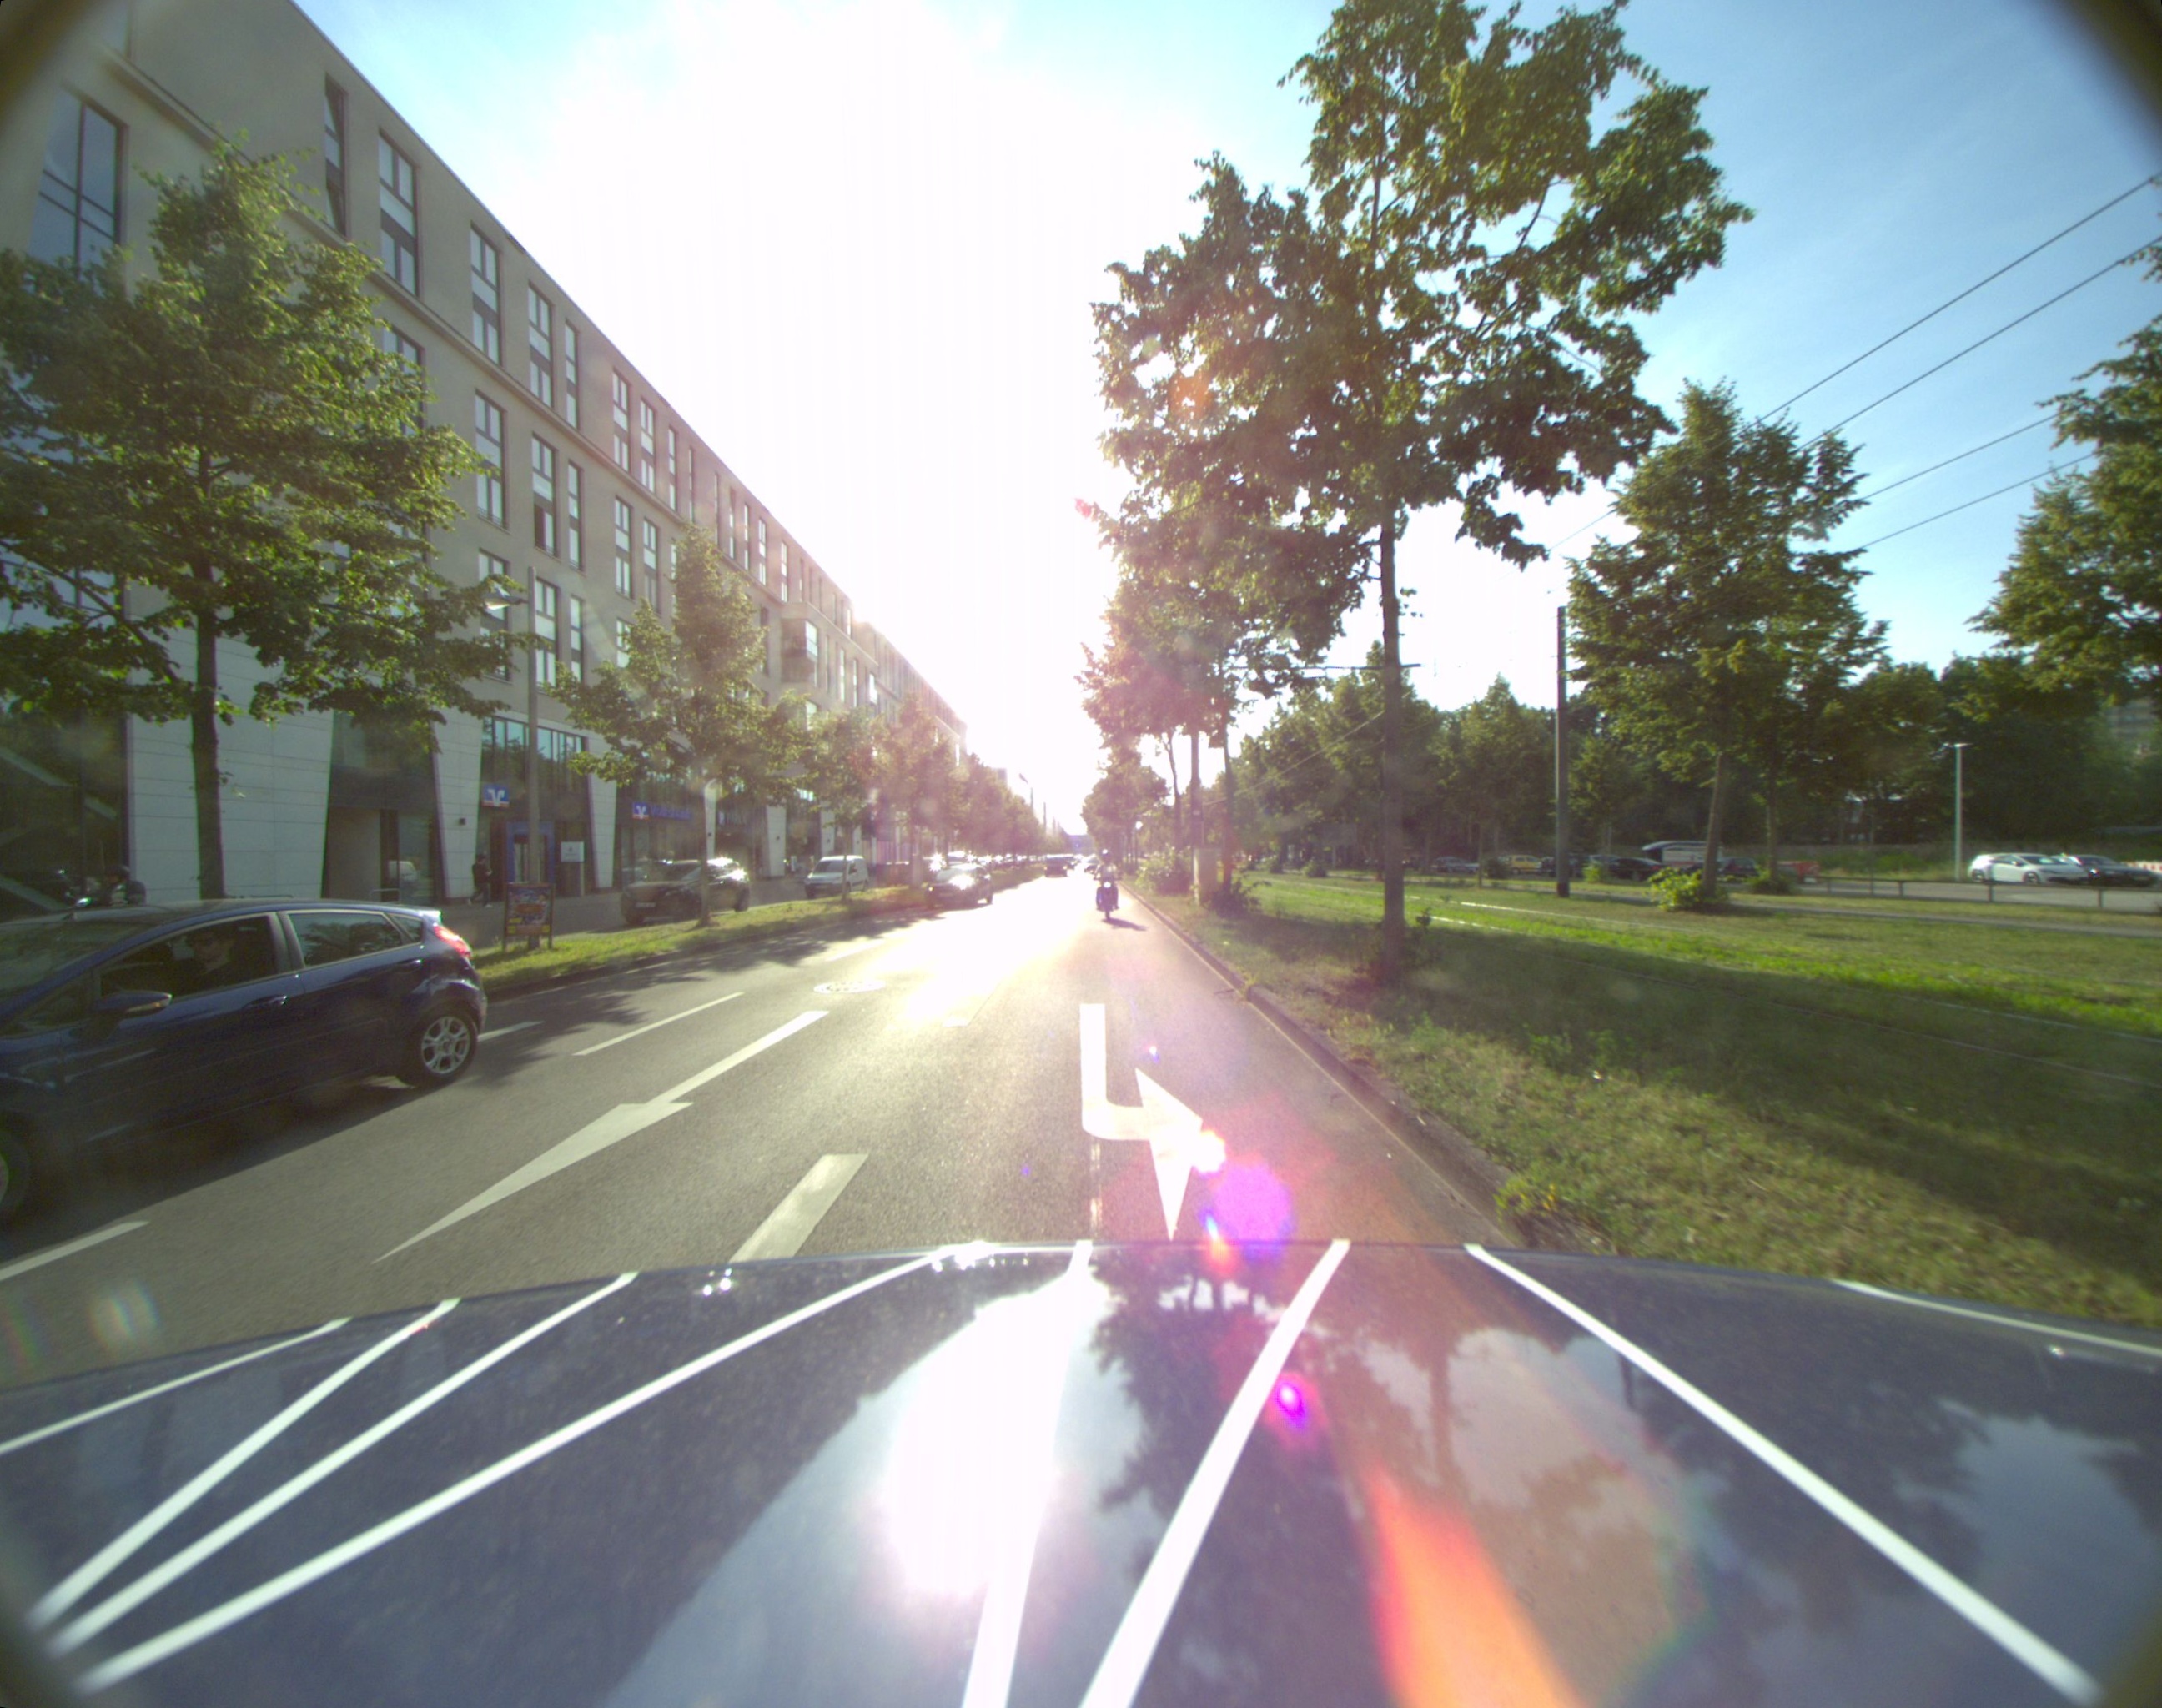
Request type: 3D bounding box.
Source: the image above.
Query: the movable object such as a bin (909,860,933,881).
[{"bbox_3d":[-10.131,1.039,48.155,1.281,1.294,1.191,-2,1,-2],"label":"movable object such as a bin"}]

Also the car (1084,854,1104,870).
[{"bbox_3d":[1.251,0.766,75.593,1.756,1.427,4.034,-2,1,-2],"label":"car"}]

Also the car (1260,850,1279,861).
[{"bbox_3d":[28.423,0.204,114.400,1.835,1.423,4.474,-2,1,2],"label":"car"}]

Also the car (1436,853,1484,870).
[{"bbox_3d":[37.481,0.771,75.187,3.865,1.477,1.744,-2,1,9],"label":"car"}]

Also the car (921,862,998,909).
[{"bbox_3d":[-4.332,1.103,27.730,1.698,1.416,4.041,-2,1,6],"label":"car"}]

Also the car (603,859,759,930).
[{"bbox_3d":[-11.078,1.034,21.493,1.902,1.698,4.677,-2,0,-1],"label":"car"}]

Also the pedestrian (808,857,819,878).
[{"bbox_3d":[-20.041,1.005,56.965,0.515,1.513,0.597,-2,1,1],"label":"pedestrian"}]

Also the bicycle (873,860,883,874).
[{"bbox_3d":[-17.406,1.102,65.245,0.345,1.075,1.732,3,1,1],"label":"bicycle"}]

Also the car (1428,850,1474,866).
[{"bbox_3d":[37.795,0.426,77.634,3.865,1.477,1.744,-2,1,9],"label":"car"}]

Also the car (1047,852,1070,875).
[{"bbox_3d":[-1.931,0.804,67.256,1.803,1.881,4.820,-2,1,1],"label":"car"}]

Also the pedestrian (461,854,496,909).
[{"bbox_3d":[-19.800,0.902,24.987,0.538,1.753,0.646,-2,1,1],"label":"pedestrian"}]

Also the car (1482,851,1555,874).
[{"bbox_3d":[37.654,0.697,65.505,5.071,1.725,1.886,-2,1,3],"label":"car"}]

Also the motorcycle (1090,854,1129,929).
[{"bbox_3d":[0.665,0.862,18.677,0.798,1.659,2.634,-2,1,0],"label":"motorcycle"}]

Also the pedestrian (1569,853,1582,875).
[{"bbox_3d":[34.399,0.704,52.855,0.523,1.472,0.568,-2,1,0],"label":"pedestrian"}]

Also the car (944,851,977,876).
[{"bbox_3d":[-10.258,0.763,64.796,1.842,1.865,5.031,-2,1,1],"label":"car"}]

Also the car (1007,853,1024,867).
[{"bbox_3d":[-9.558,0.804,111.369,1.899,1.863,4.844,-2,1,0],"label":"car"}]

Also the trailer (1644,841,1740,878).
[{"bbox_3d":[37.434,0.334,46.630,4.374,2.042,1.758,-2,1,4],"label":"trailer"}]

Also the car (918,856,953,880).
[{"bbox_3d":[-10.547,1.002,55.262,1.735,1.620,4.849,0,0,-2],"label":"car"}]

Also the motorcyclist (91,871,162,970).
[{"bbox_3d":[-16.038,1.107,12.773,0.625,1.631,0.417,1,1,-8],"label":"motorcyclist"}]

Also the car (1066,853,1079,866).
[{"bbox_3d":[-1.325,0.840,120.946,1.998,2.002,3.999,-2,1,1],"label":"car"}]

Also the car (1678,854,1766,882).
[{"bbox_3d":[36.048,0.759,42.848,1.684,1.385,3.760,-3,1,-2],"label":"car"}]

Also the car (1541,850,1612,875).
[{"bbox_3d":[36.301,0.593,55.673,4.002,1.633,1.757,-2,1,1],"label":"car"}]

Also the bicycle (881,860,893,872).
[{"bbox_3d":[-17.441,1.103,68.366,0.419,0.995,2.043,3,1,1],"label":"bicycle"}]

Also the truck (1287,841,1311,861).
[{"bbox_3d":[41.966,-0.603,146.380,2.895,3.496,7.946,-2,1,6],"label":"truck"}]

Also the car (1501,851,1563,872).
[{"bbox_3d":[37.198,0.598,62.751,3.996,1.551,1.856,-2,1,3],"label":"car"}]

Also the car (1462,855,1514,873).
[{"bbox_3d":[36.485,0.882,68.220,3.655,1.420,1.810,-2,1,3],"label":"car"}]

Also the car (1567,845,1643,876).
[{"bbox_3d":[36.252,0.446,52.656,4.002,1.936,1.757,-2,1,1],"label":"car"}]

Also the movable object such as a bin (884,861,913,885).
[{"bbox_3d":[-10.305,1.070,42.944,1.281,1.284,1.178,-2,1,-2],"label":"movable object such as a bin"}]

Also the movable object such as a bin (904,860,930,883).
[{"bbox_3d":[-10.099,1.057,46.868,1.281,1.310,1.191,-2,1,-2],"label":"movable object such as a bin"}]

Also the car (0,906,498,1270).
[{"bbox_3d":[-5.537,1.155,4.153,1.564,1.416,3.908,-2,0,1],"label":"car"}]

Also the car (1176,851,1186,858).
[{"bbox_3d":[23.346,0.059,177.696,1.686,1.467,4.812,2,1,1],"label":"car"}]

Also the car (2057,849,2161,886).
[{"bbox_3d":[49.749,0.603,36.313,1.687,1.548,4.003,-2,1,13],"label":"car"}]

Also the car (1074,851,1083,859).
[{"bbox_3d":[-0.544,0.118,160.177,1.840,1.521,4.328,-2,1,1],"label":"car"}]

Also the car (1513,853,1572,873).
[{"bbox_3d":[35.870,0.701,59.112,3.576,1.417,1.726,-2,1,1],"label":"car"}]

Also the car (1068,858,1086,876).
[{"bbox_3d":[-0.474,1.510,92.396,1.909,2.002,4.000,-2,1,1],"label":"car"}]

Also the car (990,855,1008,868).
[{"bbox_3d":[-10.109,0.879,94.402,1.733,1.424,4.113,-2,1,0],"label":"car"}]

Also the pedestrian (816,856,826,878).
[{"bbox_3d":[-19.483,0.961,56.908,0.515,1.565,0.539,-3,1,-7],"label":"pedestrian"}]

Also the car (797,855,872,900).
[{"bbox_3d":[-10.786,0.983,33.634,1.832,1.702,4.295,-2,1,0],"label":"car"}]

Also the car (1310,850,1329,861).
[{"bbox_3d":[38.947,0.239,124.157,1.835,1.603,4.474,-2,1,2],"label":"car"}]

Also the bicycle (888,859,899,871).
[{"bbox_3d":[-17.540,1.013,71.153,0.420,1.093,2.108,3,1,1],"label":"bicycle"}]

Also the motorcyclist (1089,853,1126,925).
[{"bbox_3d":[0.651,0.855,18.843,0.814,1.700,0.843,-2,1,0],"label":"motorcyclist"}]

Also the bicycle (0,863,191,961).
[{"bbox_3d":[-18.366,1.024,14.264,0.557,1.610,2.212,-2,1,2],"label":"bicycle"}]

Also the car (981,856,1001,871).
[{"bbox_3d":[-9.233,0.974,78.259,1.620,1.404,4.166,-2,1,-2],"label":"car"}]

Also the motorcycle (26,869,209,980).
[{"bbox_3d":[-15.992,1.116,12.706,0.703,1.608,2.010,2,1,-9],"label":"motorcycle"}]

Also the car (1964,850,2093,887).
[{"bbox_3d":[46.816,0.668,37.675,1.851,1.586,4.003,-2,1,12],"label":"car"}]

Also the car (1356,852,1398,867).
[{"bbox_3d":[31.133,0.591,79.912,1.689,1.427,4.027,-3,1,-24],"label":"car"}]

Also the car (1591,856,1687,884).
[{"bbox_3d":[31.449,0.869,42.968,1.778,1.419,3.991,-3,1,-26],"label":"car"}]

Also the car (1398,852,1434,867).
[{"bbox_3d":[37.286,0.588,84.771,1.791,1.434,4.359,-2,1,-4],"label":"car"}]

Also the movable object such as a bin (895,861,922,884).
[{"bbox_3d":[-9.996,1.049,44.177,1.281,1.229,1.191,-2,1,-2],"label":"movable object such as a bin"}]

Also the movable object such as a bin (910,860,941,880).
[{"bbox_3d":[-10.156,1.055,49.726,1.399,1.229,1.338,-2,1,28],"label":"movable object such as a bin"}]

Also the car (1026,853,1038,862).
[{"bbox_3d":[-9.418,0.713,145.518,1.840,1.521,4.328,-2,1,1],"label":"car"}]
